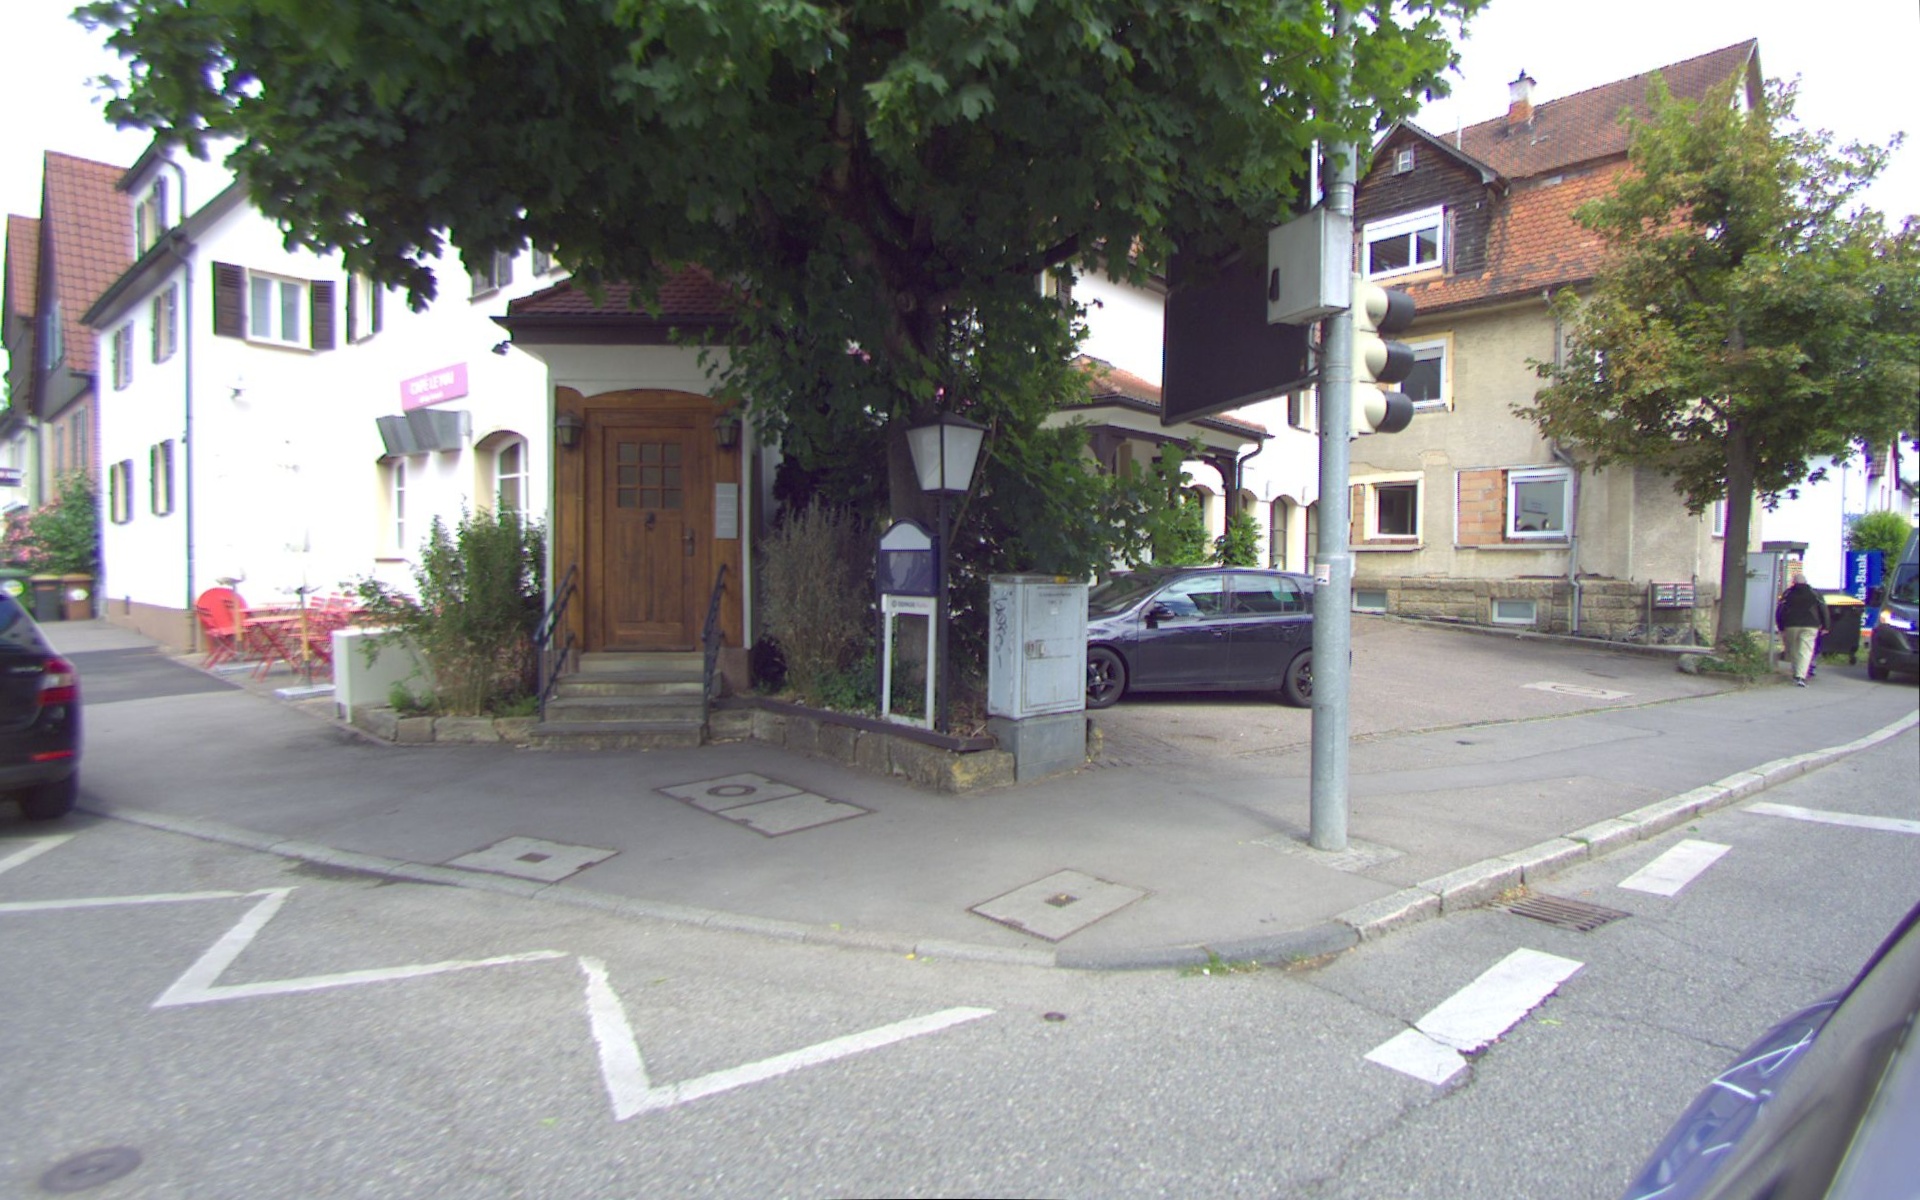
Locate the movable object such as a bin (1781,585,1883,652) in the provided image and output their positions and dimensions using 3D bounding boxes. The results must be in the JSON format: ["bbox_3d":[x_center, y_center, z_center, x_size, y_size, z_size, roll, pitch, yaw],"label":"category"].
[{"bbox_3d":[17.698,0.352,20.590,1.170,1.281,1.203,1,1,18],"label":"movable object such as a bin"}]

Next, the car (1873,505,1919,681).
[{"bbox_3d":[17.967,-0.137,17.657,6.138,2.805,2.152,-1,1,-40],"label":"car"}]

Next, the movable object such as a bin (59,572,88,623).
[{"bbox_3d":[-17.959,-0.054,20.501,0.390,1.010,0.390,0,1,40],"label":"movable object such as a bin"}]

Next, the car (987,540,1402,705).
[{"bbox_3d":[2.501,0.222,11.082,3.993,1.535,1.763,2,4,-16],"label":"car"}]

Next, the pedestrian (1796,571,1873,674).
[{"bbox_3d":[14.661,0.356,16.970,0.783,1.663,0.787,0,1,-35],"label":"pedestrian"}]

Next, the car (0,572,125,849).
[{"bbox_3d":[-6.990,0.530,6.220,4.156,1.433,1.758,2,1,34],"label":"car"}]

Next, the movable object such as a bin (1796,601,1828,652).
[{"bbox_3d":[16.837,0.521,20.004,0.408,0.949,0.270,6,4,38],"label":"movable object such as a bin"}]

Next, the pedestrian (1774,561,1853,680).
[{"bbox_3d":[13.421,0.306,15.909,0.883,1.805,0.743,0,1,-36],"label":"pedestrian"}]

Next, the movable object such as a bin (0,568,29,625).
[{"bbox_3d":[-18.554,-0.076,19.751,0.390,1.098,0.520,0,1,40],"label":"movable object such as a bin"}]

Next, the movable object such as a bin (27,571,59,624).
[{"bbox_3d":[-18.242,-0.052,20.127,0.390,1.028,0.409,0,1,40],"label":"movable object such as a bin"}]
